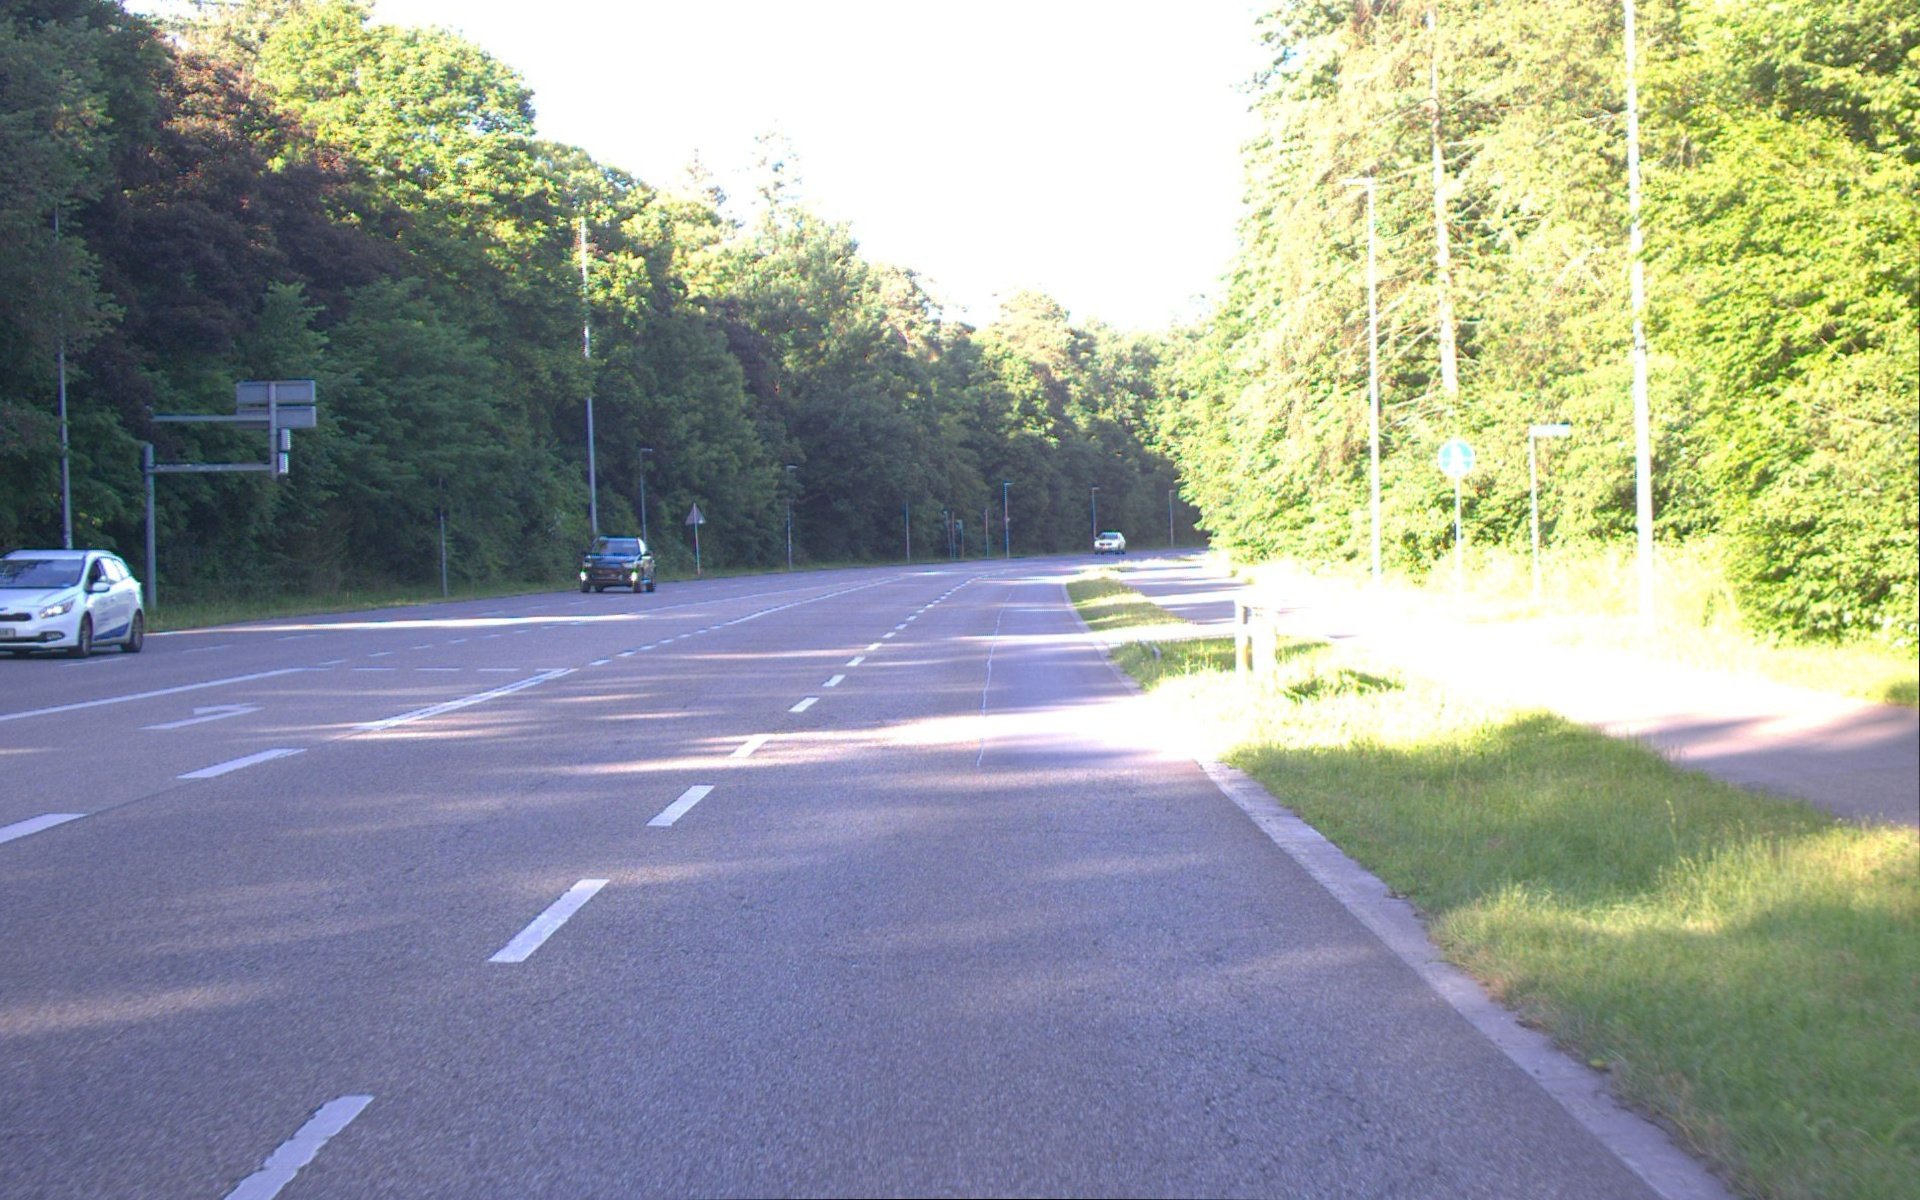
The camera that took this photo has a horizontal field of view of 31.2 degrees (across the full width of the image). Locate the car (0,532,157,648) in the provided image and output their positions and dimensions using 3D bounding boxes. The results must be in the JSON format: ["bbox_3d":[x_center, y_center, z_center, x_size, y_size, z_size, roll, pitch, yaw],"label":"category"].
[{"bbox_3d":[-12.393,-0.163,46.793,1.825,1.499,4.306,0,1,1],"label":"car"}]

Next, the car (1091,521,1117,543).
[{"bbox_3d":[10.835,-5.112,259.087,1.908,1.658,4.734,0,1,2],"label":"car"}]

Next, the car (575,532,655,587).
[{"bbox_3d":[-10.206,-1.210,101.879,1.825,1.584,4.351,0,1,1],"label":"car"}]
